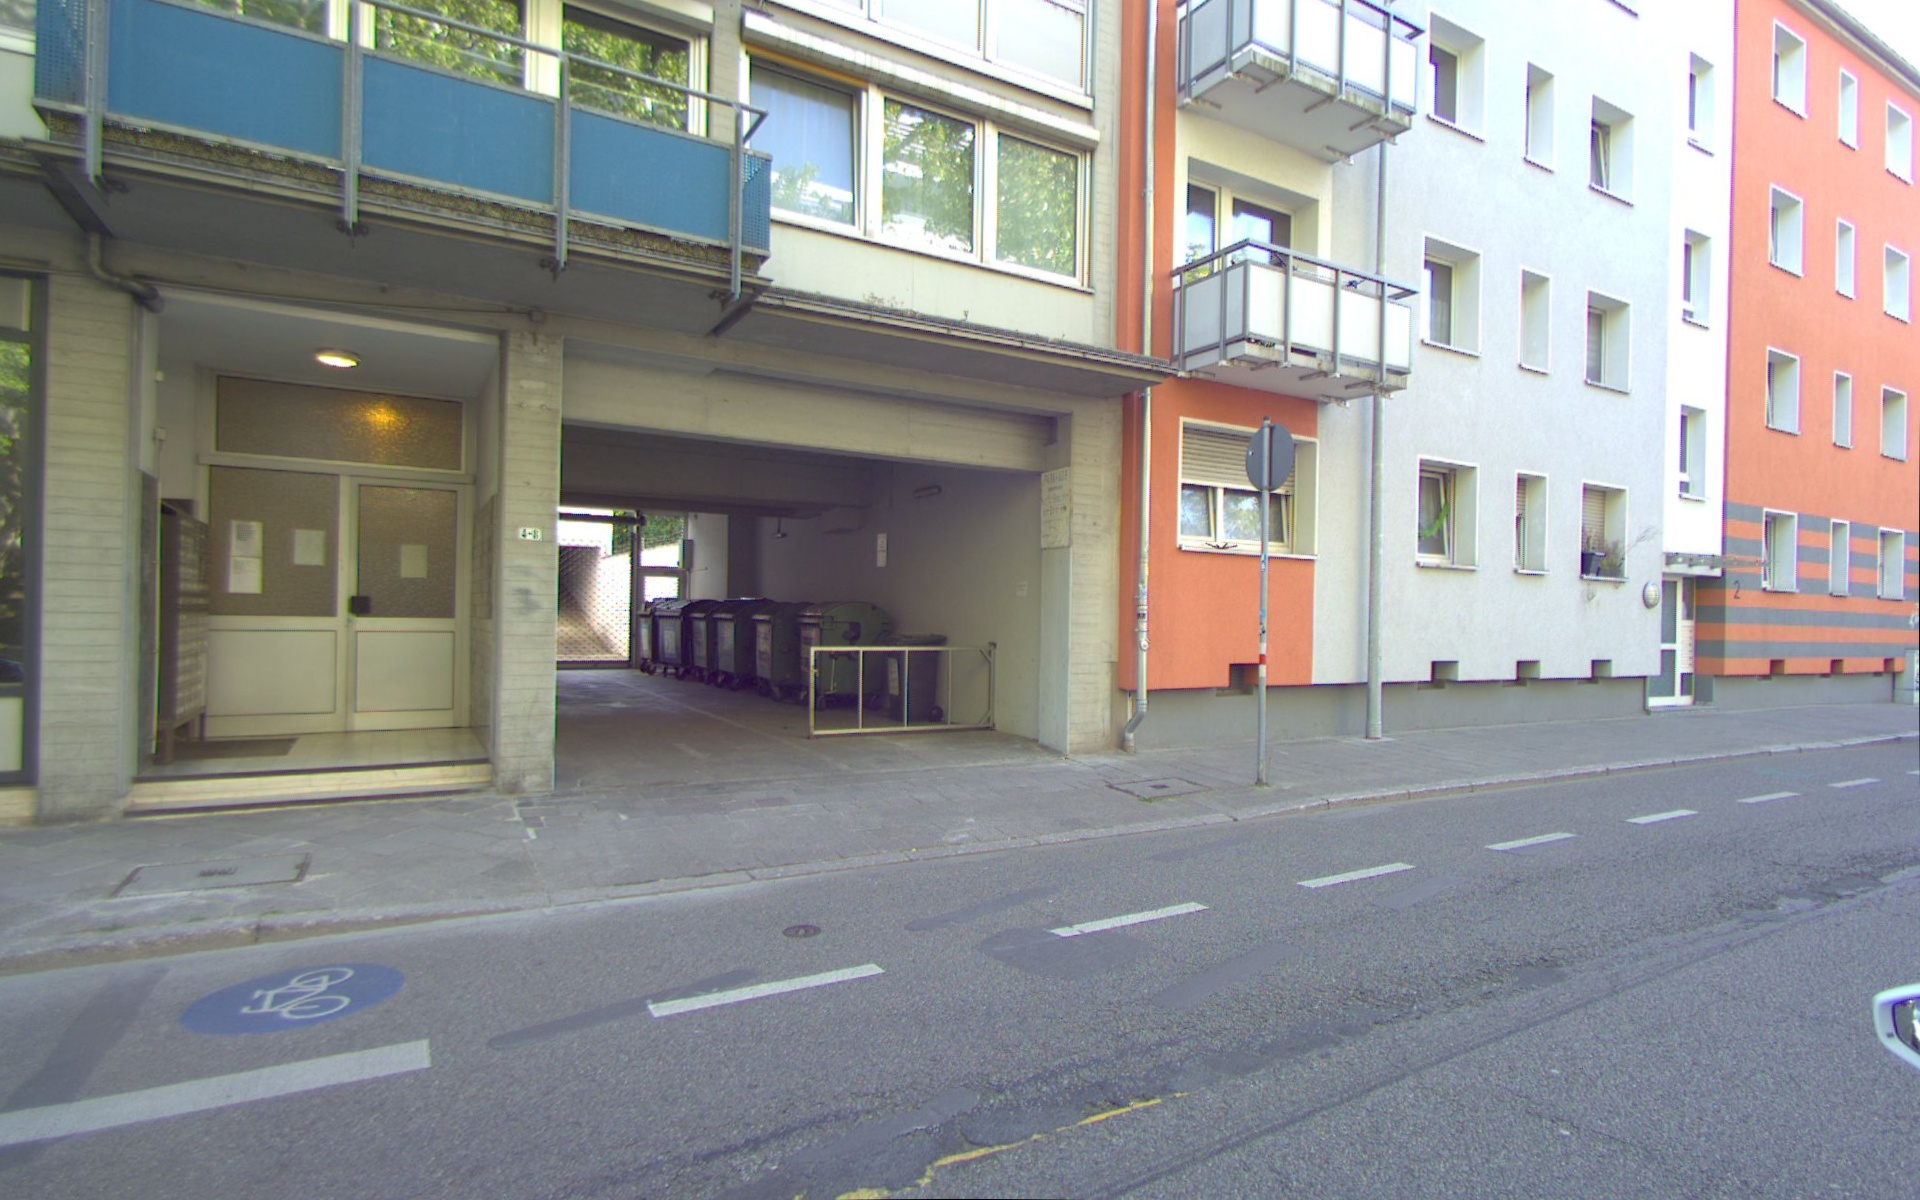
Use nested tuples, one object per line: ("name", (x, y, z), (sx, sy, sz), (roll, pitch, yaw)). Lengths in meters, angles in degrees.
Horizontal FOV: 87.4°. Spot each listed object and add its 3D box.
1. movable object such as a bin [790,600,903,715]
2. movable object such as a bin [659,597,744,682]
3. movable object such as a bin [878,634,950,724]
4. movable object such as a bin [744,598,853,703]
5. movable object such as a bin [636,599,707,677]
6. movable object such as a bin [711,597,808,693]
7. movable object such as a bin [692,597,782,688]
("movable object such as a bin", (-1.576, 0.758, 13.782), (1.128, 1.484, 1.255), (2, 0, -28))
("movable object such as a bin", (-4.808, 0.725, 18.662), (1.264, 1.506, 1.155), (2, 0, -28))
("movable object such as a bin", (-0.577, 0.963, 12.429), (0.694, 1.061, 0.567), (2, 0, -28))
("movable object such as a bin", (-2.442, 0.738, 15.135), (1.264, 1.493, 1.265), (2, -1, -28))
("movable object such as a bin", (-5.727, 0.736, 19.917), (1.128, 1.484, 1.129), (2, 0, -28))
("movable object such as a bin", (-3.340, 0.730, 16.671), (1.264, 1.506, 1.155), (2, 0, -28))
("movable object such as a bin", (-3.943, 0.732, 17.719), (1.264, 1.515, 1.155), (2, 0, -28))
